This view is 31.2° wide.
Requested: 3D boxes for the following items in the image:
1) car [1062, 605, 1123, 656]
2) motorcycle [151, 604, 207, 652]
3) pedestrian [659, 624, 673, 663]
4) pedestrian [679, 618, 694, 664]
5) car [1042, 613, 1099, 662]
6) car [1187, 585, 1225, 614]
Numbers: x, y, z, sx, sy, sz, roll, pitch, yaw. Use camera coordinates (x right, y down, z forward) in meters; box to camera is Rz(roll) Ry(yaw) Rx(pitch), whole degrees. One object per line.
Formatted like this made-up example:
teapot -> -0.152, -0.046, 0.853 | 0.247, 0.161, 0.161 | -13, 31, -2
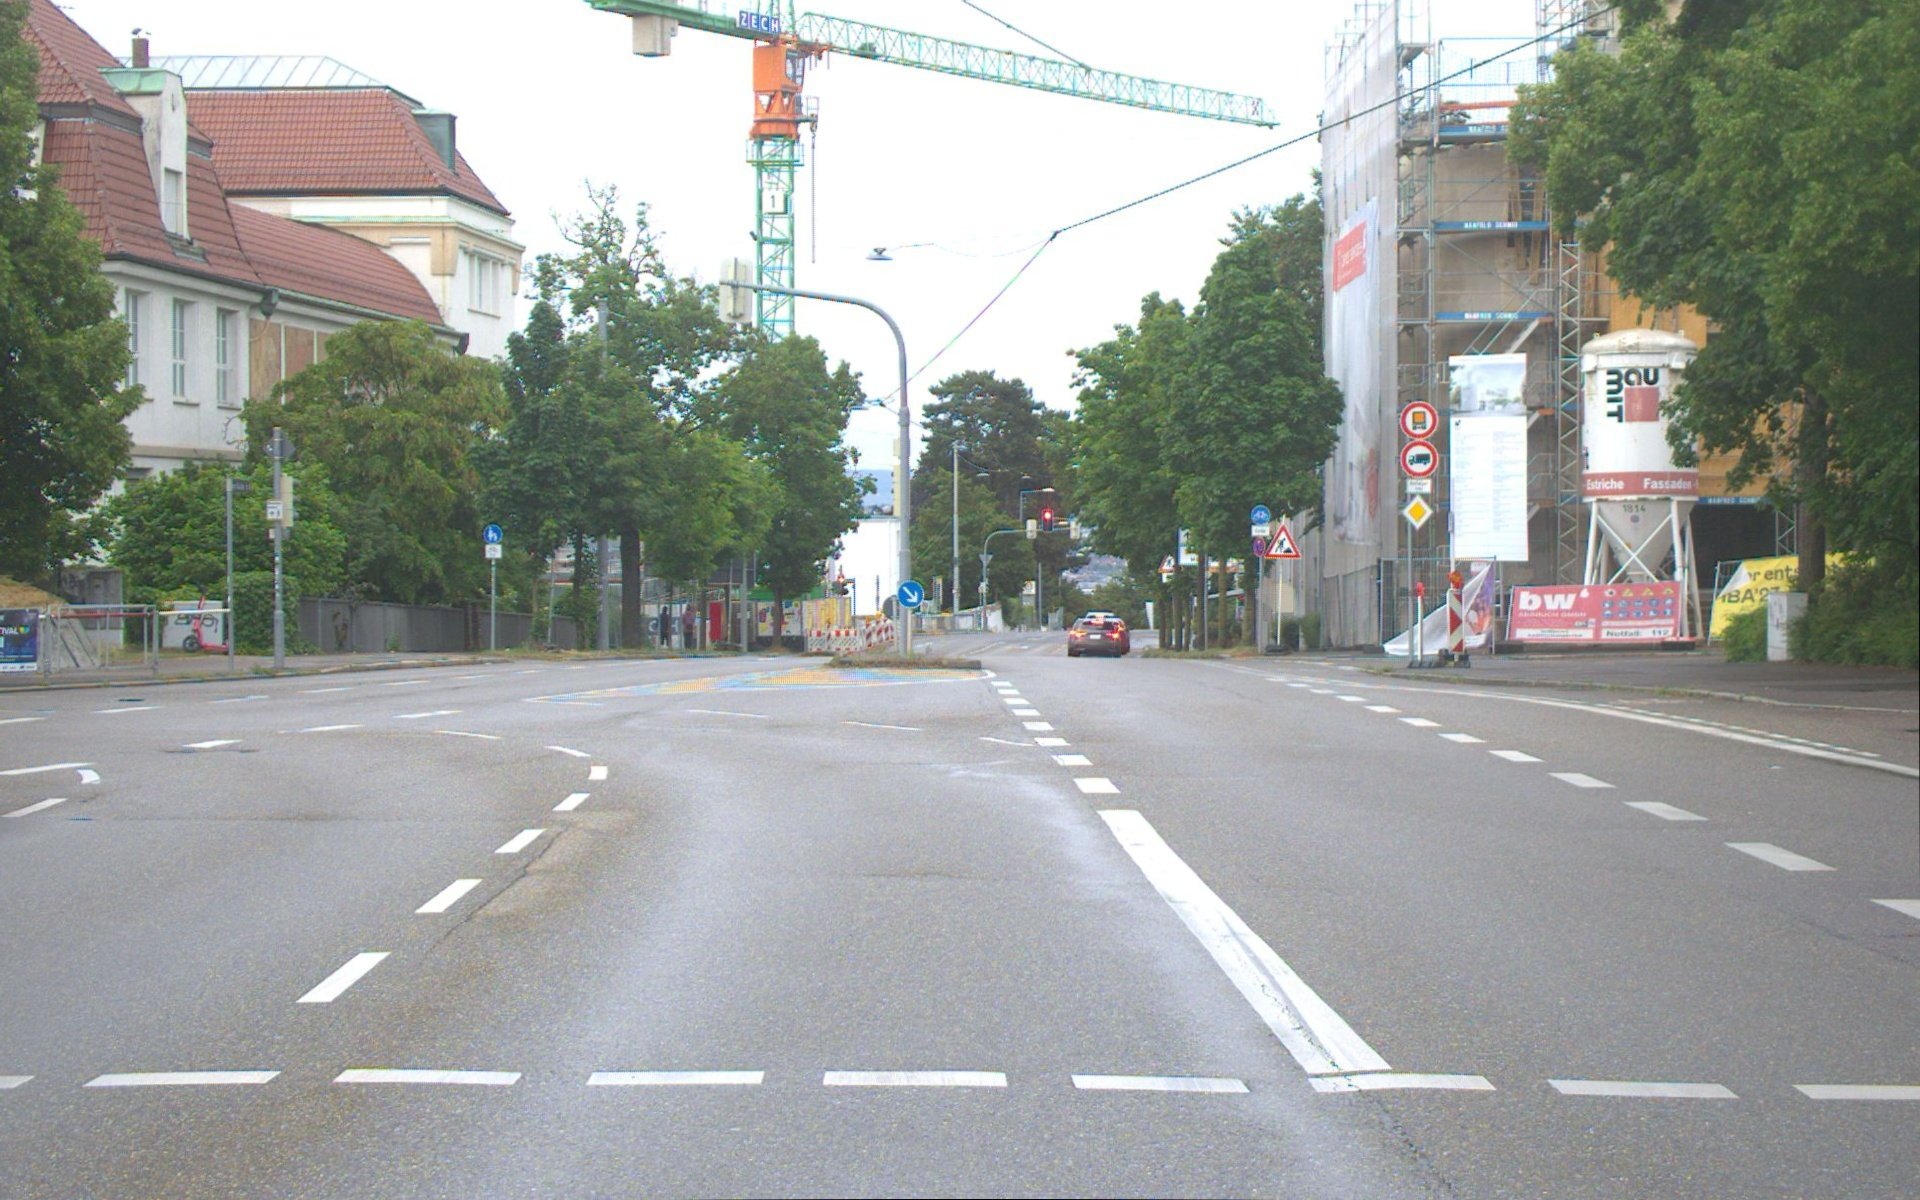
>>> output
car -> 4.800, 1.098, 125.031 | 1.993, 1.744, 4.000 | -1, 1, -1
motorcycle -> -14.702, 0.528, 64.751 | 0.849, 0.874, 0.877 | 1, 0, -1
pedestrian -> -10.613, 1.554, 124.071 | 0.474, 1.391, 0.411 | -1, 1, -1
pedestrian -> -9.873, 1.480, 124.012 | 0.493, 1.640, 0.534 | 1, 0, -6
car -> 4.230, 1.425, 131.957 | 1.993, 1.744, 4.000 | -1, 1, -1
car -> 15.690, -0.043, 219.335 | 1.994, 1.744, 3.998 | -1, 1, 11
